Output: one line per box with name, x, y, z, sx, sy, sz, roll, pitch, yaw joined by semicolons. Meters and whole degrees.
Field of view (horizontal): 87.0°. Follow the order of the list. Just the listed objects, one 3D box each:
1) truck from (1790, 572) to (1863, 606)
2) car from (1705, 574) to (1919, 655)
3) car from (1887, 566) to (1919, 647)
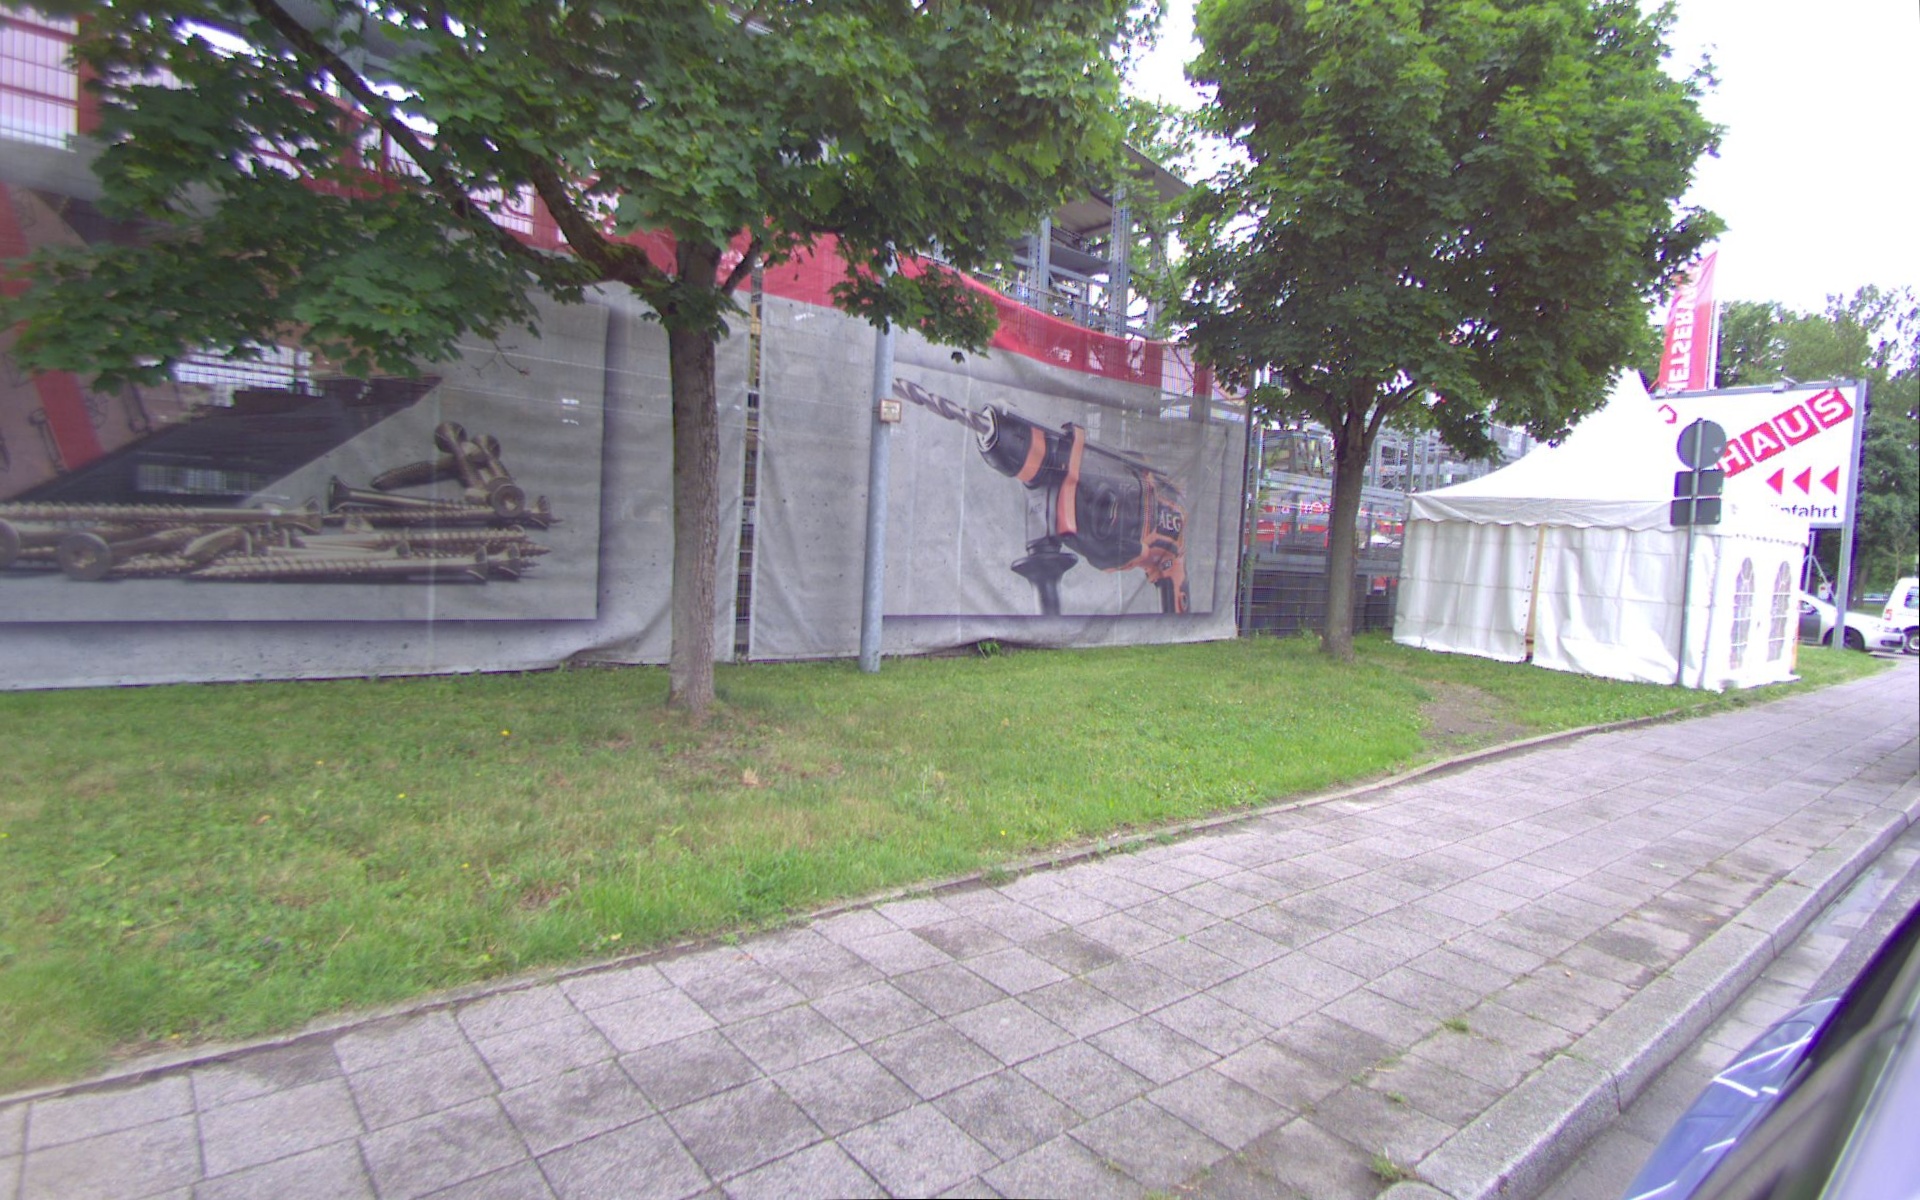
truck;69.677;-0.910;81.402;3.924;2.425;2.001;3;3;0
car;19.741;0.267;23.441;1.746;1.603;3.685;0;3;-41
car;24.056;0.362;22.790;1.769;1.828;4.382;0;6;-41
